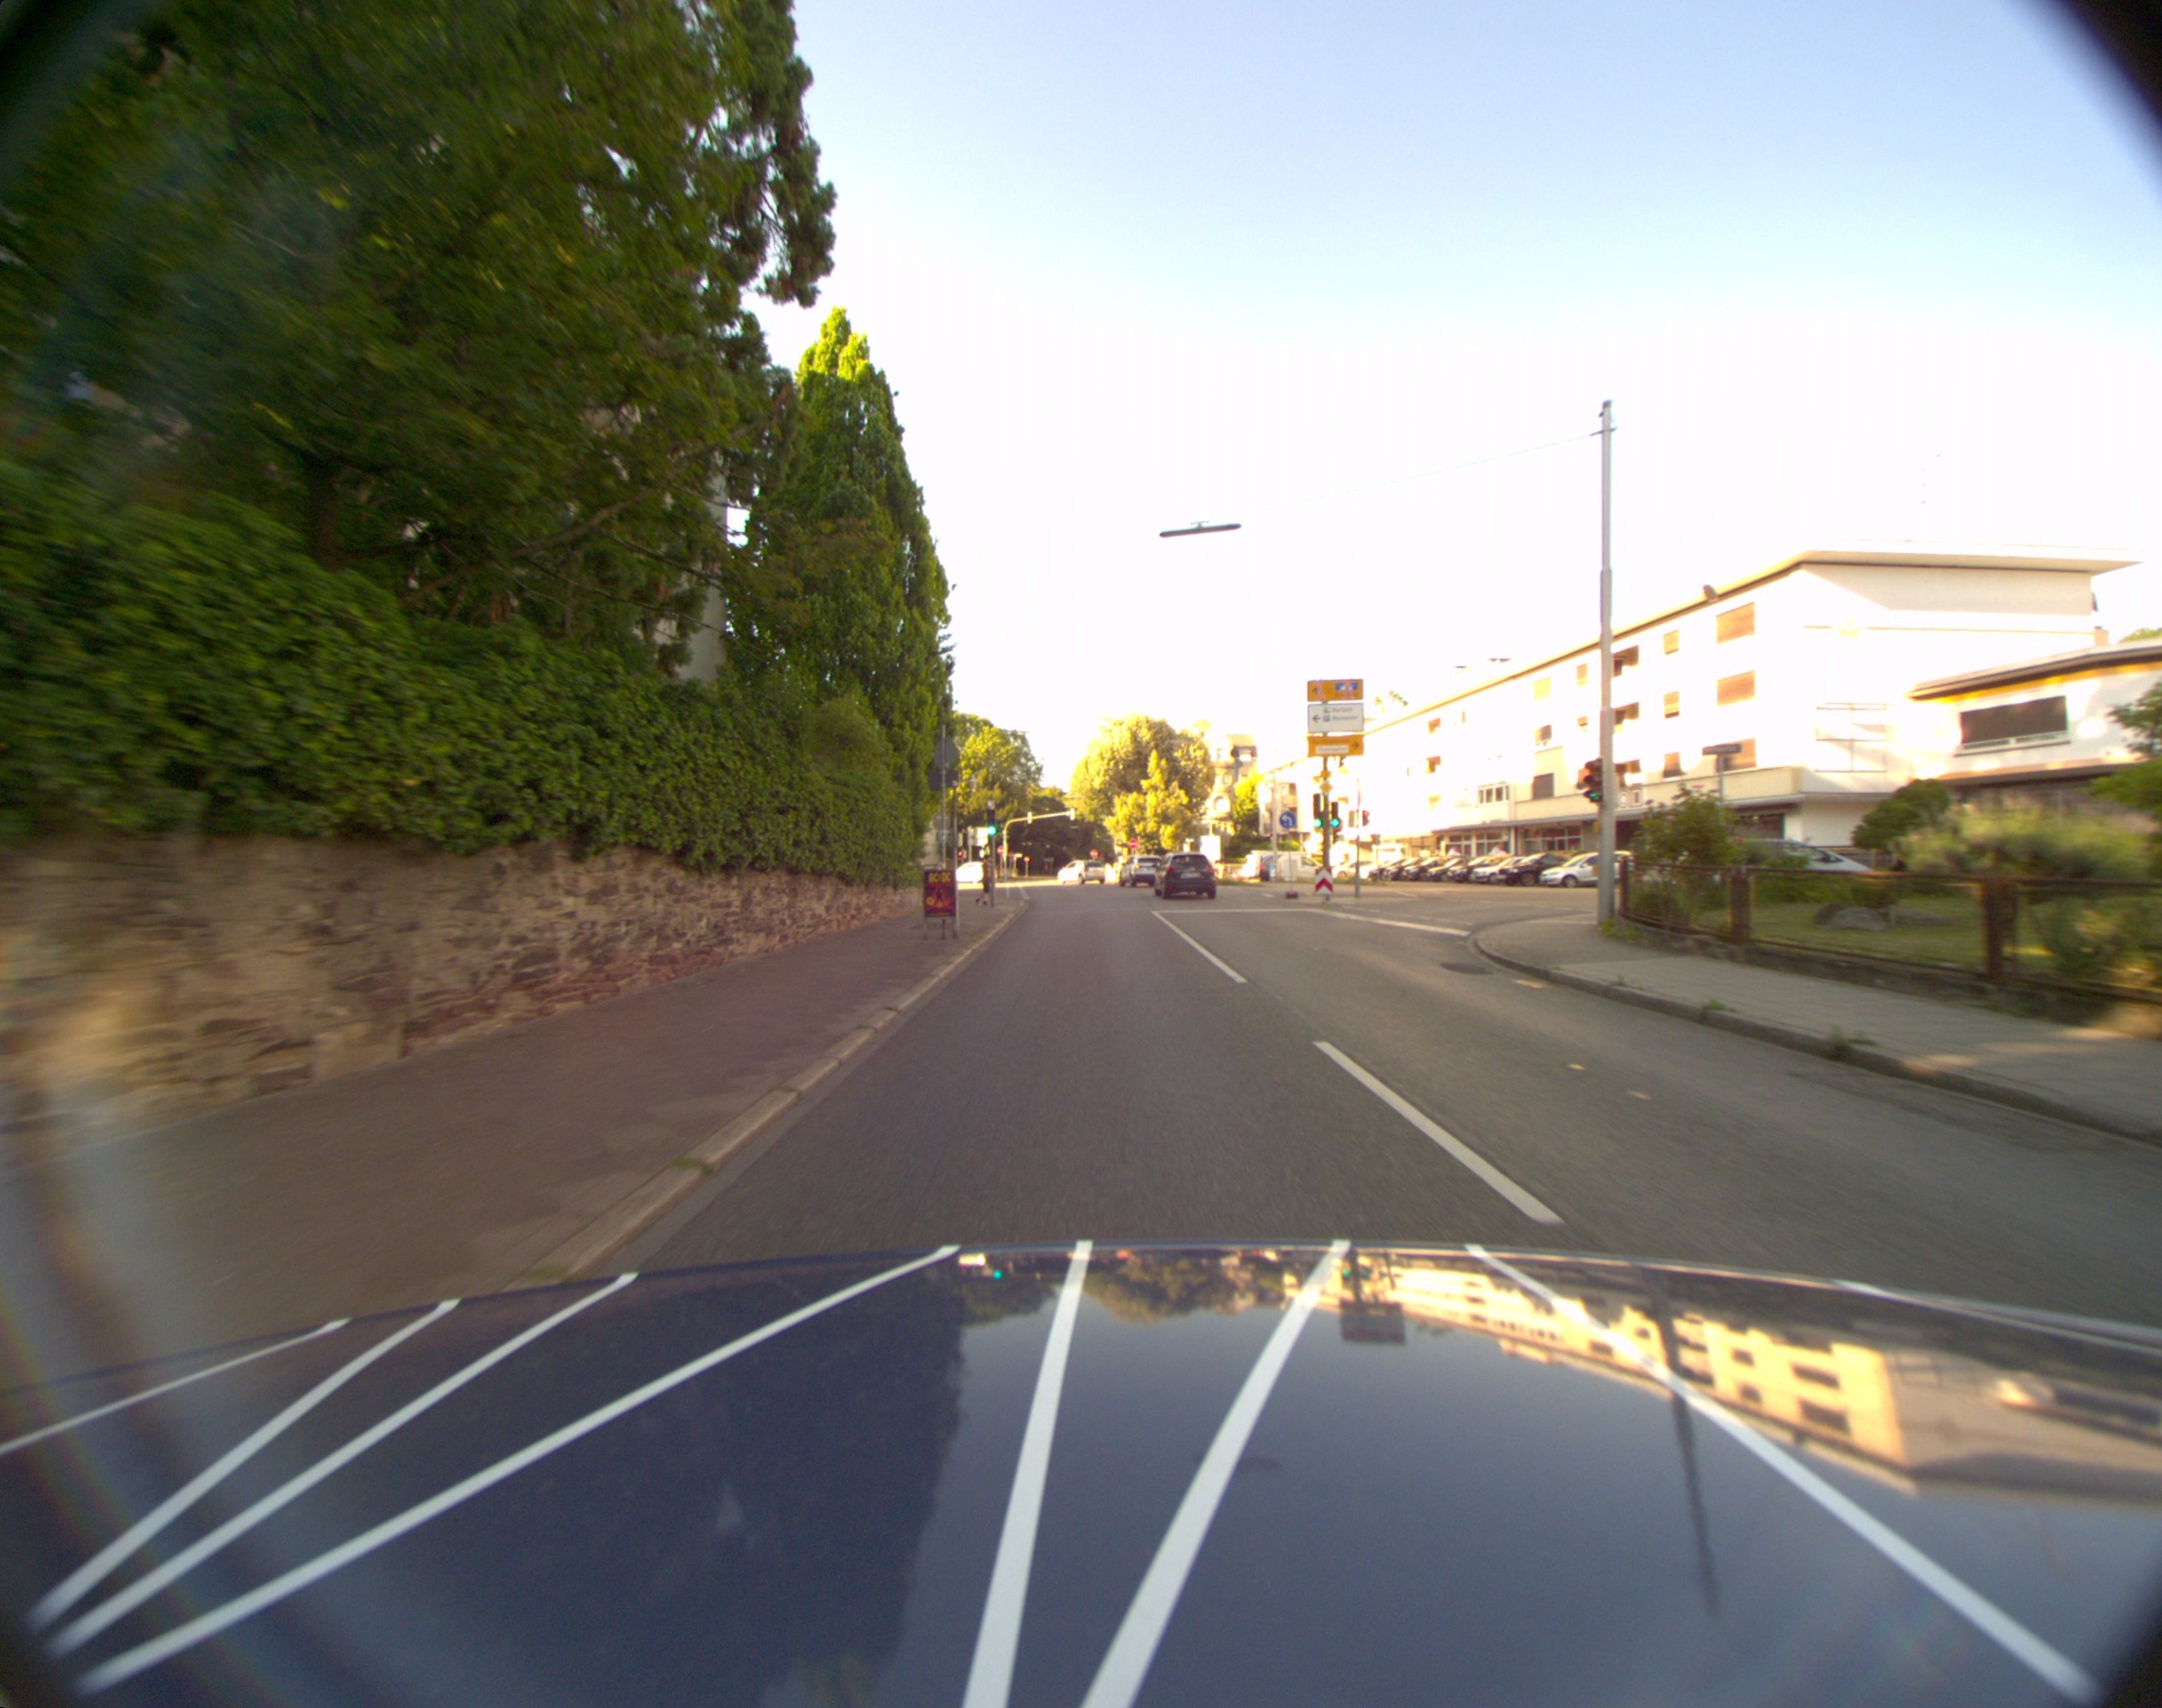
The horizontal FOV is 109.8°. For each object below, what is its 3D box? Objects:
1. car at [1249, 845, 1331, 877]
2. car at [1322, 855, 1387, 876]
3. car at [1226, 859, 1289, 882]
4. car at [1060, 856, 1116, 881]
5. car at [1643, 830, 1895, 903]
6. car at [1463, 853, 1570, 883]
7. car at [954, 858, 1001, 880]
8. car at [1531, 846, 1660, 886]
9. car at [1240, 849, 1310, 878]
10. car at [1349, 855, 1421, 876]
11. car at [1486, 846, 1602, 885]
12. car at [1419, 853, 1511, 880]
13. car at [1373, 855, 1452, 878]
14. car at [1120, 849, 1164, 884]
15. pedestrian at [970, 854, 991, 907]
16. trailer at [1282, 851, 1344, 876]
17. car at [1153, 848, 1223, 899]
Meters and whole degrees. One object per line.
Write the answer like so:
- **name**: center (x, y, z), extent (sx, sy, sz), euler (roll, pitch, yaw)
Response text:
- **car**: center (13.642, 0.480, 49.840), extent (4.681, 1.953, 2.117), euler (-2, -1, -5)
- **car**: center (21.210, 0.912, 58.989), extent (4.324, 1.501, 2.000), euler (-2, -1, -1)
- **car**: center (12.826, 1.228, 55.449), extent (4.002, 1.470, 2.000), euler (-3, -1, -4)
- **car**: center (0.391, 0.927, 48.104), extent (1.784, 1.471, 4.088), euler (-1, -1, -28)
- **car**: center (17.131, 0.333, 19.189), extent (4.275, 1.639, 1.962), euler (-2, -1, 14)
- **car**: center (22.435, 0.708, 39.310), extent (4.321, 1.390, 2.002), euler (-2, -1, 11)
- **car**: center (-7.928, 1.151, 57.900), extent (1.785, 1.533, 3.990), euler (-1, -1, -38)
- **car**: center (22.942, 0.543, 34.080), extent (4.321, 1.601, 2.002), euler (-2, -1, 11)
- **car**: center (13.457, 0.641, 52.826), extent (4.324, 1.840, 2.000), euler (-2, -1, 0)
- **car**: center (21.864, 0.816, 54.741), extent (4.324, 1.390, 2.000), euler (-2, -1, -1)
- **car**: center (22.266, 0.541, 36.741), extent (4.321, 1.704, 2.002), euler (-2, -1, 11)
- **car**: center (22.509, 0.733, 44.647), extent (4.324, 1.390, 2.000), euler (-2, -1, -1)
- **car**: center (21.761, 0.825, 50.026), extent (4.324, 1.390, 2.000), euler (-2, -1, -1)
- **car**: center (3.074, 0.655, 39.079), extent (1.780, 1.638, 4.534), euler (-2, -1, -1)
- **pedestrian**: center (-3.208, 0.835, 24.304), extent (0.604, 1.683, 0.612), euler (0, 0, 0)
- **trailer**: center (14.163, 0.603, 46.423), extent (3.263, 1.388, 1.574), euler (-2, -1, -5)
- **car**: center (3.807, 0.697, 27.711), extent (1.958, 1.638, 4.284), euler (-2, -1, 1)
